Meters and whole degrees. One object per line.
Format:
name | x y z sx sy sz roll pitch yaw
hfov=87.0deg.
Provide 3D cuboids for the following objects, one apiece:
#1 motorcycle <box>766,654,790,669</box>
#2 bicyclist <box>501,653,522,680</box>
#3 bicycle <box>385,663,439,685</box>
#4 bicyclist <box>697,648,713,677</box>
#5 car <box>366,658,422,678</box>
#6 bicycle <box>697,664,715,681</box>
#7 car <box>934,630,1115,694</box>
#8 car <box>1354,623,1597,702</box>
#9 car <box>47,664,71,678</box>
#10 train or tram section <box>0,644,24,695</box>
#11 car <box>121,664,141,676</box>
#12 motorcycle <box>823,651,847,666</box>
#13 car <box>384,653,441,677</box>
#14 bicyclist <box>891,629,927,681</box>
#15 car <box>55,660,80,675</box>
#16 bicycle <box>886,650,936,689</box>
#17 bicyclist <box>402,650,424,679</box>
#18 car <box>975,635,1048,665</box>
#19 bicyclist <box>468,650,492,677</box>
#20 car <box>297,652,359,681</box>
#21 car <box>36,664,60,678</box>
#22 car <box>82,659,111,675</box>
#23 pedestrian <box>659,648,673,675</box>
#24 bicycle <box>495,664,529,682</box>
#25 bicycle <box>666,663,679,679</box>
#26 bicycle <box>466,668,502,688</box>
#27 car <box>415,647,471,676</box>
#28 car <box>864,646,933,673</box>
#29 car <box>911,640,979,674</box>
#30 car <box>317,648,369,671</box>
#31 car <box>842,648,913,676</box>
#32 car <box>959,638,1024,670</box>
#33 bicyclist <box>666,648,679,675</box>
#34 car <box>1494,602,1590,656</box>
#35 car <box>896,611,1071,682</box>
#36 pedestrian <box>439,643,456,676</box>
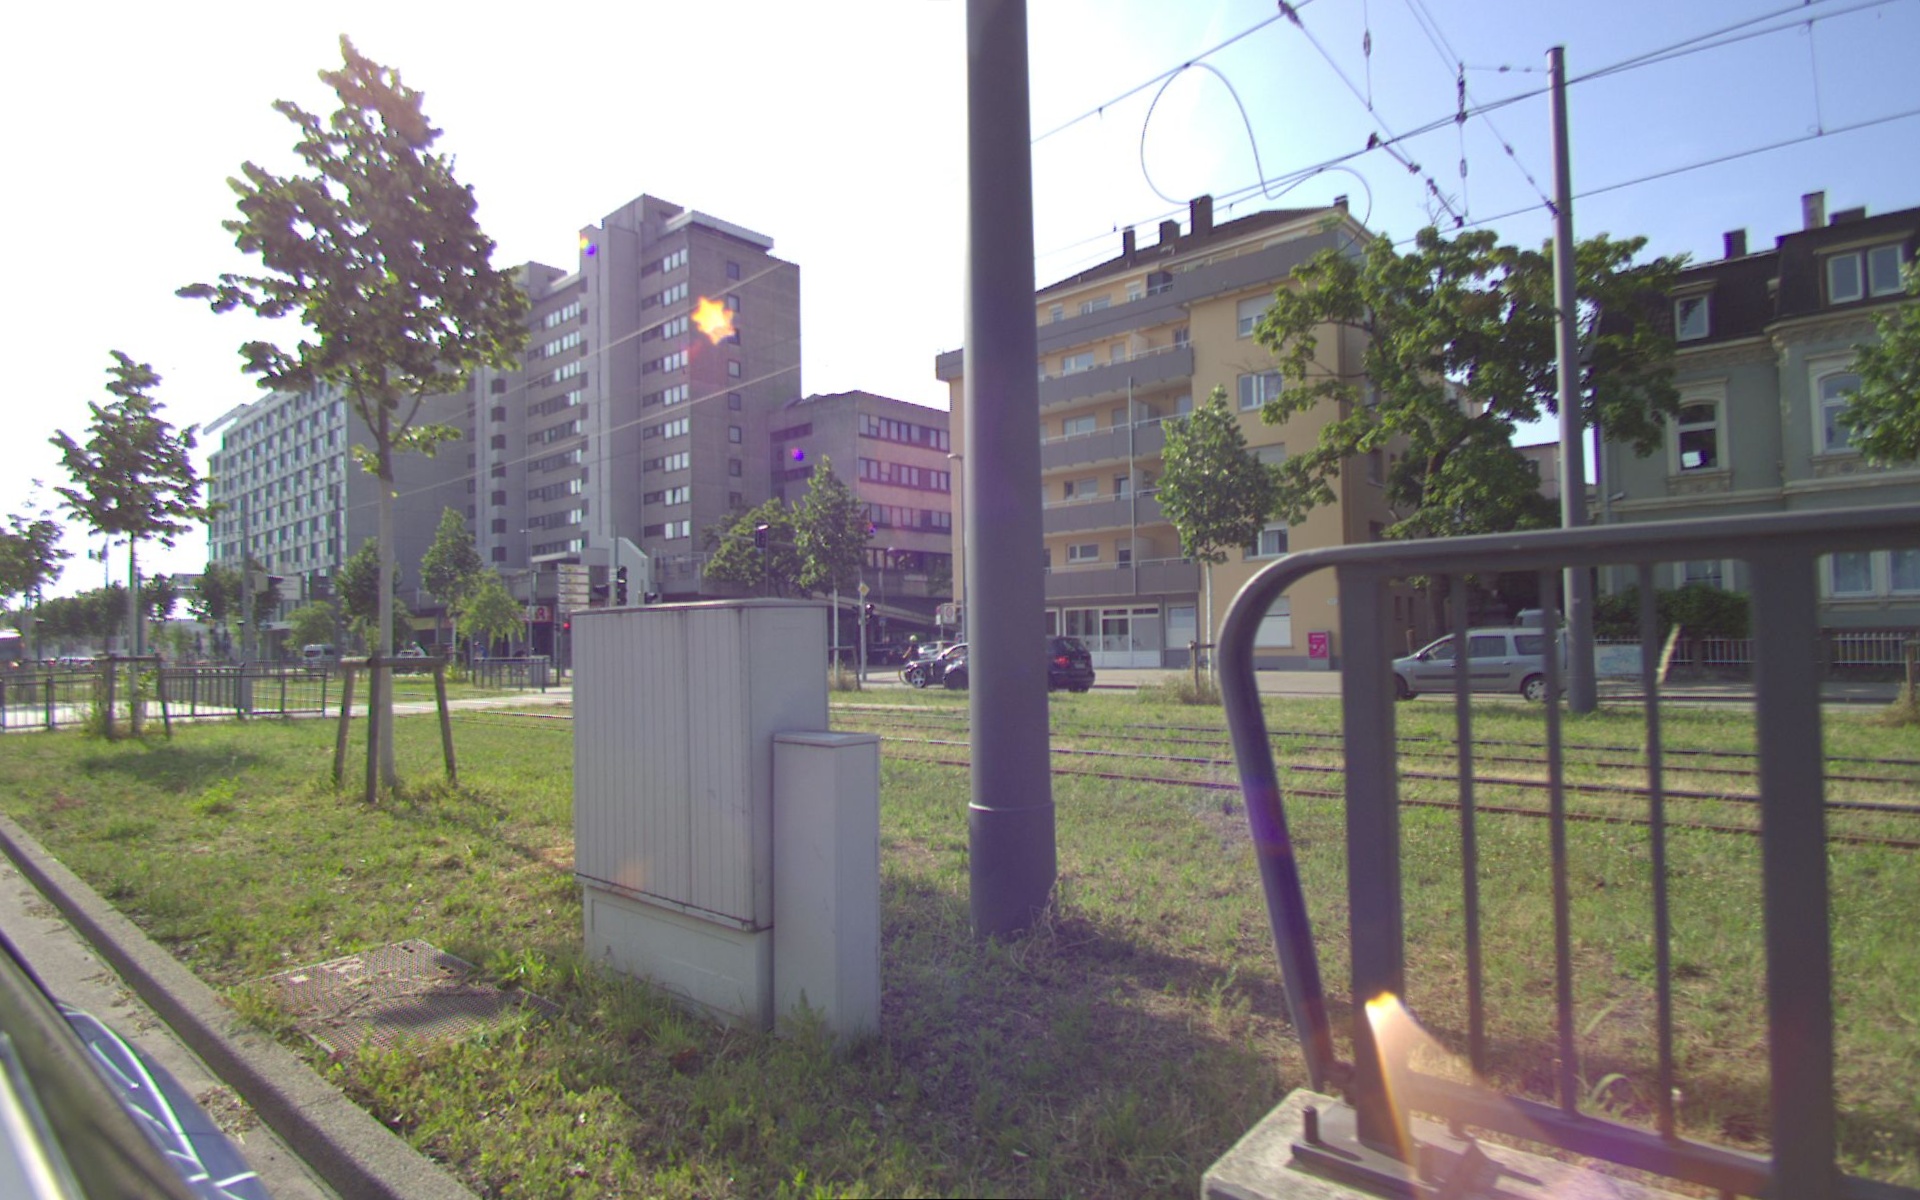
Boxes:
motorcycle | -12.136 4.094 67.346 1.946 1.025 0.487 -4 -3 42
bicyclist | -23.710 3.521 53.471 0.957 1.406 0.548 2 -6 -27
bicycle | -26.941 3.625 49.773 2.306 1.007 0.710 0 -3 -25
bicyclist | -13.391 3.295 53.225 0.676 1.451 0.808 -2 -1 -20
car | -42.814 5.123 76.685 1.854 1.253 4.108 -3 -1 2
bicycle | -13.372 3.796 53.184 0.708 0.804 1.609 -2 0 -20
car | 1.625 1.614 26.527 4.394 1.524 1.973 -3 -3 40
car | 11.385 1.382 22.480 4.519 1.589 1.976 -3 -3 36
car | -102.820 8.052 115.516 4.001 1.486 1.787 -4 -3 44
train or tram section | -68.168 4.906 71.481 6.669 3.456 2.467 -4 -4 43
car | -125.953 10.569 153.706 4.000 1.681 1.823 -3 -1 44
motorcycle | -8.613 4.063 69.887 1.946 1.025 0.487 -4 -3 42
car | -40.146 4.770 74.319 1.854 1.619 4.108 -2 -2 2
bicyclist | -1.829 1.975 36.310 1.081 1.819 0.663 -3 -3 36
car | -97.149 7.338 110.144 4.001 1.586 1.787 -4 -3 44
bicycle | -1.769 2.480 36.257 1.754 1.356 0.688 -3 -3 37
bicyclist | -26.963 3.177 49.868 0.897 1.396 0.706 0 -5 -24
car | 3.533 3.428 70.110 4.831 1.984 1.972 -3 -3 42
bicyclist | -26.522 3.532 55.960 0.685 1.451 1.011 -4 -3 39
car | -54.803 5.756 87.888 1.859 2.326 5.405 -1 -2 1
car | -108.705 8.480 120.650 3.999 1.536 1.763 -4 -3 43
car | -82.755 6.432 96.996 4.001 1.492 1.787 -4 -3 44
pedestrian | -19.858 4.143 68.342 0.622 1.790 0.692 -3 -3 29
bicycle | -23.671 3.852 53.454 1.585 0.942 0.559 3 -6 -28
bicycle | -15.986 3.934 56.346 0.619 0.799 2.008 -1 -3 -14
bicycle | -26.365 4.326 56.089 0.684 0.998 1.646 -4 -3 38
car | -37.052 4.373 72.628 1.854 1.984 4.108 -2 -2 2
car | -4.095 3.936 67.014 4.375 1.640 1.891 -3 -1 39
car | -0.765 3.017 53.627 1.706 1.596 3.588 -6 -5 38
car | -50.489 4.851 82.924 2.071 1.594 4.004 -3 -1 -5
car | -5.312 3.977 64.912 4.375 1.640 1.891 -3 -1 39
car | 1.797 3.042 57.417 1.772 1.701 3.750 -3 -3 38
bicyclist | -16.000 3.420 56.353 0.610 1.511 0.989 -1 -3 -14
car | 20.865 1.053 36.211 2.163 1.762 4.582 -3 -3 40
car | 0.647 1.447 31.174 5.298 2.029 1.973 -3 -3 40
pedestrian | -27.076 3.127 53.461 0.646 1.703 0.651 -4 -3 45
